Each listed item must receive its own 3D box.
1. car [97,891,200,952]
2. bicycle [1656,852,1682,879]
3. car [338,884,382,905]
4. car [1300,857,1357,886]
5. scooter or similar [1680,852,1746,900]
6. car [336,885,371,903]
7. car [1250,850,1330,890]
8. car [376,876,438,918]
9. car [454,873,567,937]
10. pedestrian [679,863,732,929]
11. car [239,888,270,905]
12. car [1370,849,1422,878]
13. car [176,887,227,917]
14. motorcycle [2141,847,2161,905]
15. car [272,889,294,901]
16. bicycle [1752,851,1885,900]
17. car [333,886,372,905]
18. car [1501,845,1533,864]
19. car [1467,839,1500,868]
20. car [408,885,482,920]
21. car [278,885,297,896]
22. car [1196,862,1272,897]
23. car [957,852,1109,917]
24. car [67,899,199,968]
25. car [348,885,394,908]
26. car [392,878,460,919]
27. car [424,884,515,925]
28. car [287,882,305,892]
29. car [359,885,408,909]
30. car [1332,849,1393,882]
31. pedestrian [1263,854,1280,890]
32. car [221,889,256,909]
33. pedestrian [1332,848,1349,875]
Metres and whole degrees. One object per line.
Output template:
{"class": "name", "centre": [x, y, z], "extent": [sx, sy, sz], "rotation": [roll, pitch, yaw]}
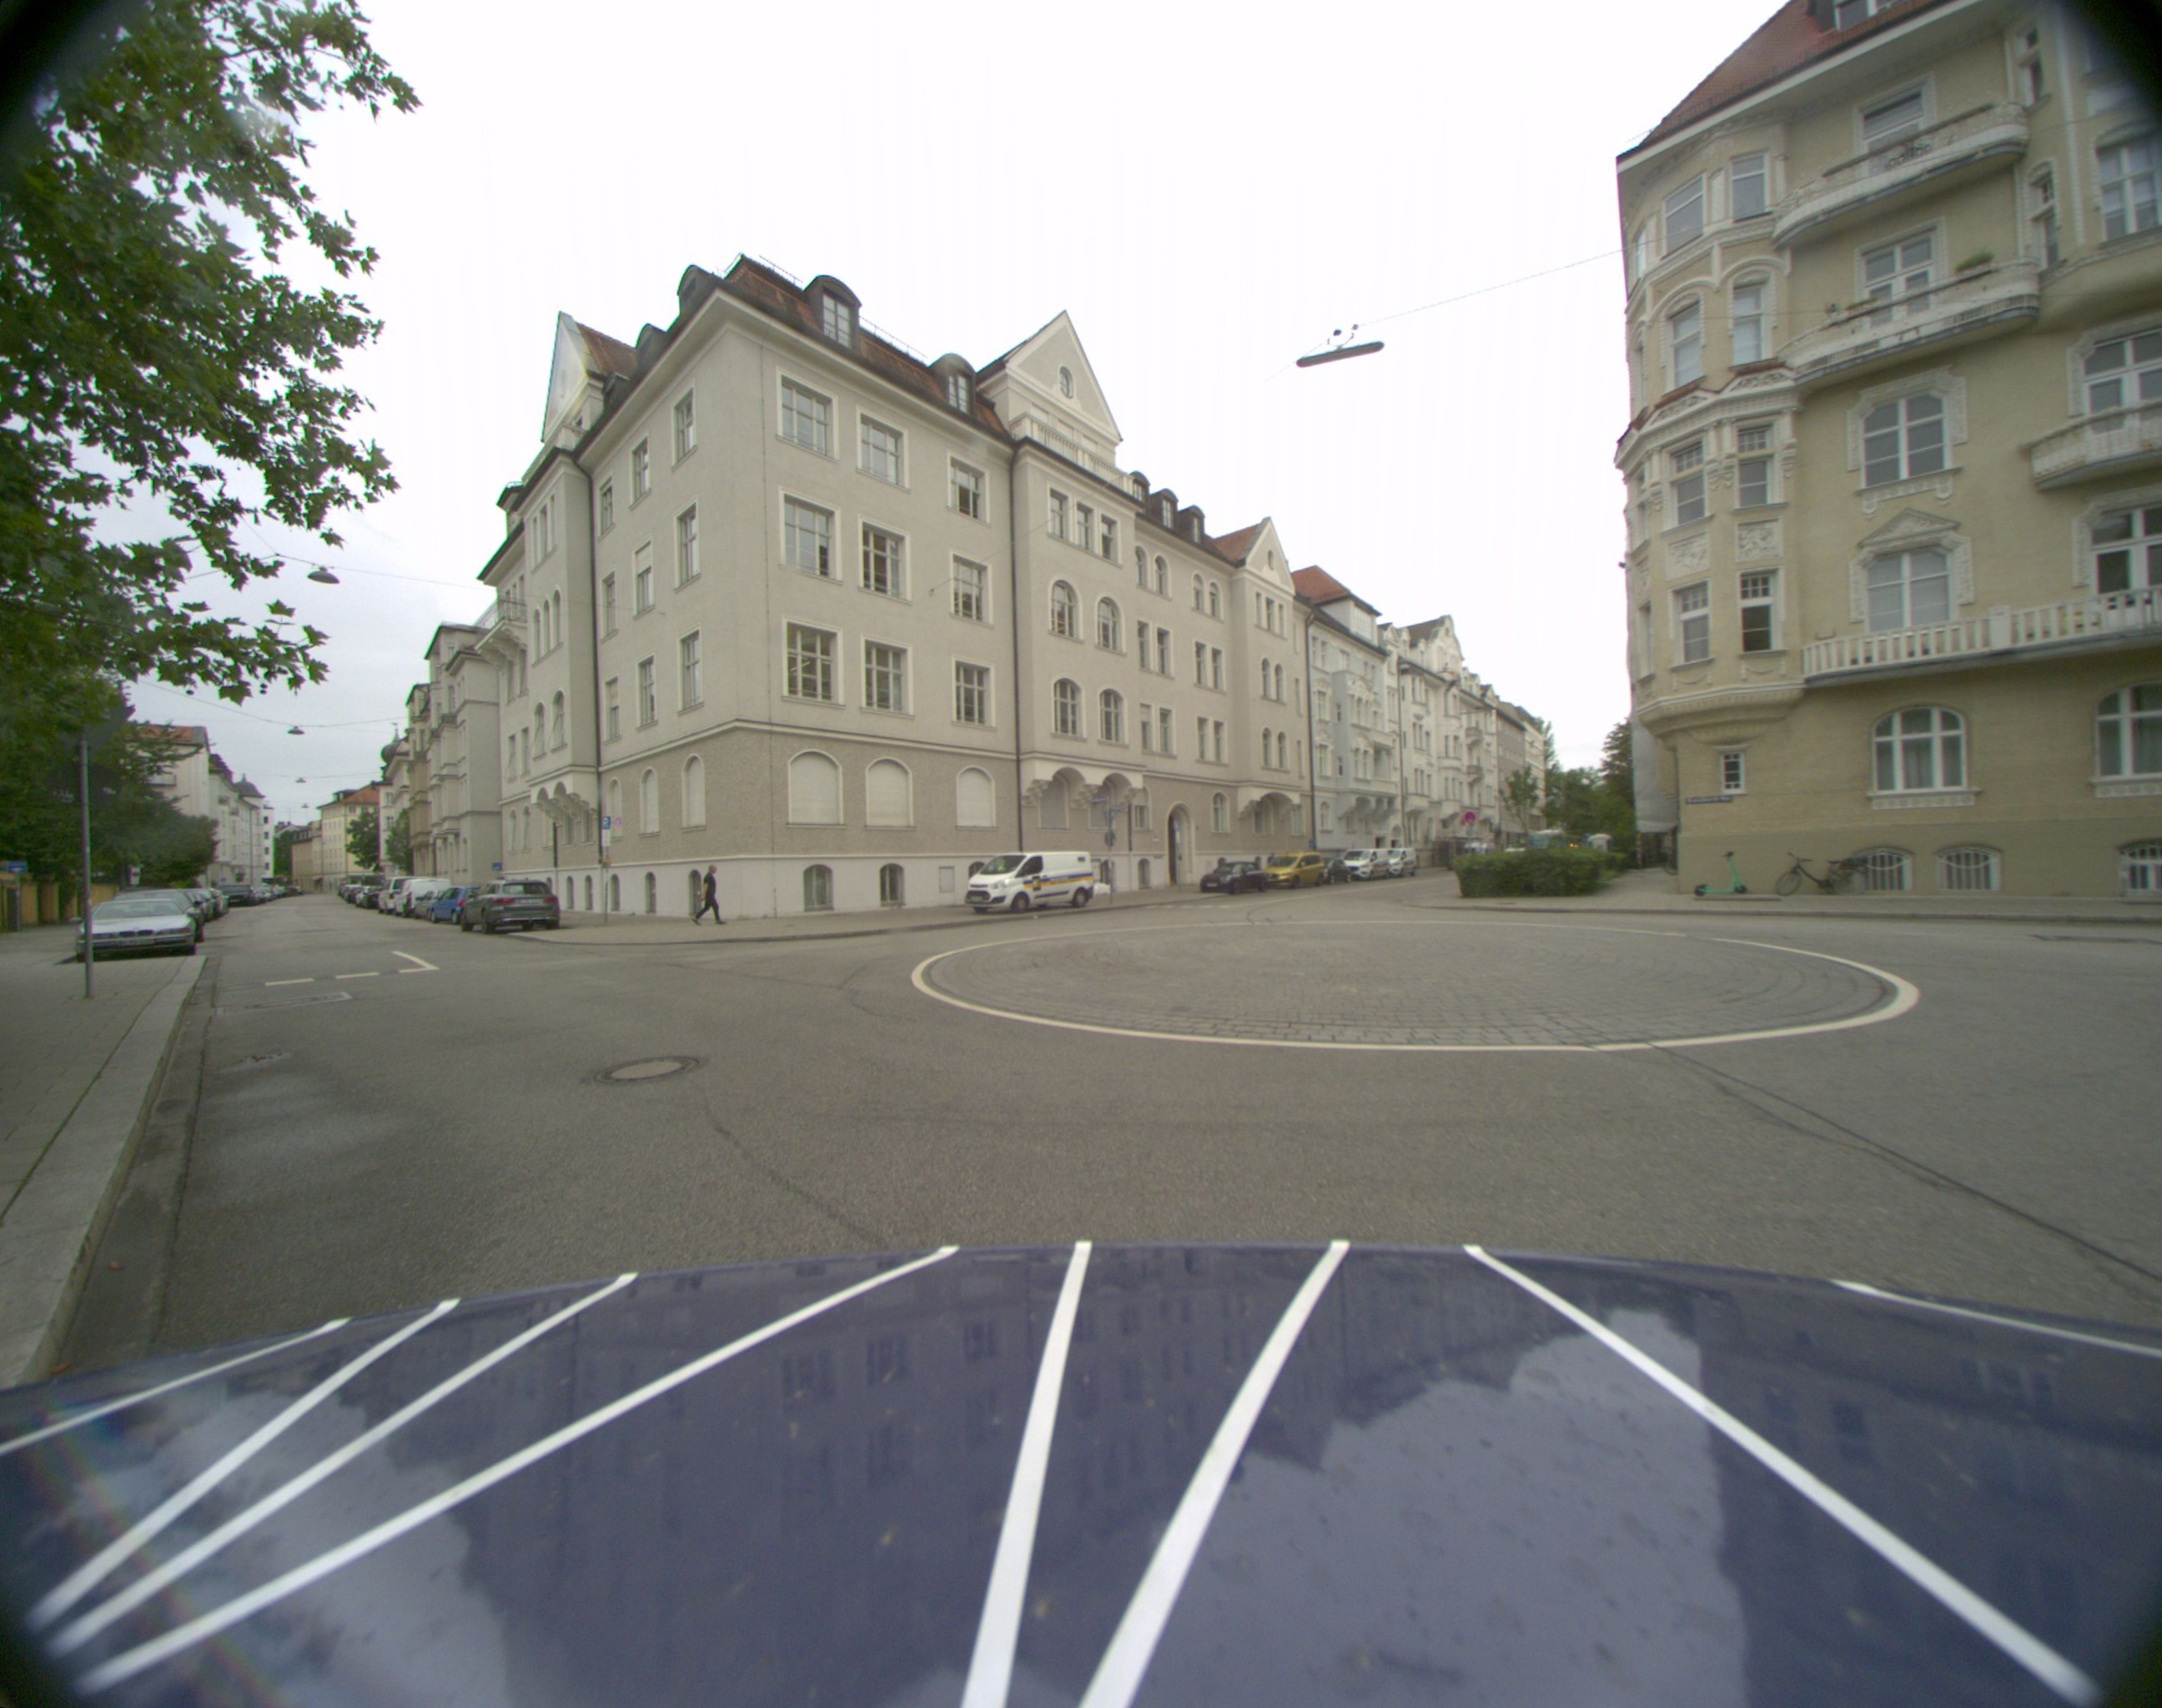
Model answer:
{"class": "car", "centre": [-27.565, 1.930, 22.564], "extent": [3.946, 1.537, 1.800], "rotation": [-2, -1, 41]}
{"class": "bicycle", "centre": [27.091, 0.520, 34.995], "extent": [0.821, 1.198, 2.082], "rotation": [-4, -2, 39]}
{"class": "car", "centre": [-52.136, 2.910, 54.934], "extent": [3.829, 1.418, 1.822], "rotation": [-2, 0, 40]}
{"class": "car", "centre": [14.098, 0.958, 43.130], "extent": [1.634, 1.505, 3.893], "rotation": [-2, -1, 41]}
{"class": "scooter or similar", "centre": [17.056, 0.584, 20.532], "extent": [1.281, 1.264, 0.460], "rotation": [-2, 0, 21]}
{"class": "car", "centre": [-63.983, 3.496, 66.803], "extent": [3.829, 1.418, 1.822], "rotation": [-2, 0, 40]}
{"class": "car", "centre": [10.791, 0.776, 39.000], "extent": [1.994, 1.907, 4.580], "rotation": [-2, 0, 43]}
{"class": "car", "centre": [-35.498, 2.205, 39.967], "extent": [4.023, 2.023, 1.822], "rotation": [-2, 0, 40]}
{"class": "car", "centre": [-18.105, 1.553, 24.050], "extent": [4.239, 1.785, 1.896], "rotation": [-2, 0, 40]}
{"class": "pedestrian", "centre": [-10.559, 1.157, 21.411], "extent": [0.929, 1.790, 1.000], "rotation": [-2, 0, 1]}
{"class": "car", "centre": [-78.529, 4.014, 72.172], "extent": [3.600, 1.538, 1.800], "rotation": [-2, -1, 41]}
{"class": "car", "centre": [21.742, 0.635, 52.356], "extent": [1.994, 1.907, 4.888], "rotation": [-2, 0, 39]}
{"class": "car", "centre": [-49.114, 2.632, 42.435], "extent": [3.295, 1.538, 1.800], "rotation": [-2, 0, 41]}
{"class": "motorcycle", "centre": [23.324, 0.434, 15.540], "extent": [1.741, 1.179, 0.744], "rotation": [-2, 0, 36]}
{"class": "car", "centre": [-103.779, 5.307, 98.794], "extent": [3.600, 1.538, 1.800], "rotation": [-2, -1, 41]}
{"class": "bicycle", "centre": [18.781, 0.565, 19.431], "extent": [2.333, 1.196, 0.700], "rotation": [-2, 0, 35]}
{"class": "car", "centre": [-59.321, 3.380, 61.859], "extent": [3.829, 1.418, 1.822], "rotation": [-2, 0, 40]}
{"class": "car", "centre": [39.750, -0.002, 69.267], "extent": [1.915, 1.648, 4.611], "rotation": [-2, 0, 37]}
{"class": "car", "centre": [38.440, -0.099, 72.494], "extent": [2.077, 2.673, 5.456], "rotation": [0, 1, 36]}
{"class": "car", "centre": [-27.774, 2.070, 33.140], "extent": [3.829, 1.396, 1.801], "rotation": [-2, 0, 40]}
{"class": "car", "centre": [-122.448, 5.621, 117.239], "extent": [3.600, 1.538, 1.800], "rotation": [-2, -1, 41]}
{"class": "car", "centre": [7.092, 1.154, 34.961], "extent": [1.713, 1.436, 3.835], "rotation": [-2, 0, 41]}
{"class": "car", "centre": [-1.476, 0.921, 25.654], "extent": [1.939, 1.911, 5.385], "rotation": [0, 0, 40]}
{"class": "car", "centre": [-23.207, 1.864, 18.750], "extent": [4.453, 1.360, 1.805], "rotation": [-2, -1, 41]}
{"class": "car", "centre": [-48.875, 2.887, 52.251], "extent": [3.829, 1.418, 1.822], "rotation": [-2, 0, 40]}
{"class": "car", "centre": [-30.918, 2.064, 35.831], "extent": [3.829, 1.773, 1.801], "rotation": [-2, 0, 40]}
{"class": "car", "centre": [-23.720, 1.896, 29.431], "extent": [4.239, 1.396, 1.896], "rotation": [-2, 0, 40]}
{"class": "car", "centre": [-129.209, 5.478, 125.001], "extent": [3.600, 1.538, 1.800], "rotation": [-2, -1, 41]}
{"class": "car", "centre": [-45.454, 2.798, 49.502], "extent": [3.829, 1.418, 1.822], "rotation": [-2, 0, 40]}
{"class": "car", "centre": [17.628, 0.693, 47.435], "extent": [1.994, 1.907, 4.896], "rotation": [-2, 0, 40]}
{"class": "pedestrian", "centre": [10.596, 0.995, 42.173], "extent": [0.583, 2.002, 0.729], "rotation": [-2, 0, 43]}
{"class": "car", "centre": [-68.272, 3.610, 61.568], "extent": [3.600, 1.538, 1.800], "rotation": [-2, -1, 41]}
{"class": "pedestrian", "centre": [18.588, 0.524, 54.368], "extent": [0.852, 1.892, 0.747], "rotation": [-1, 0, 43]}
